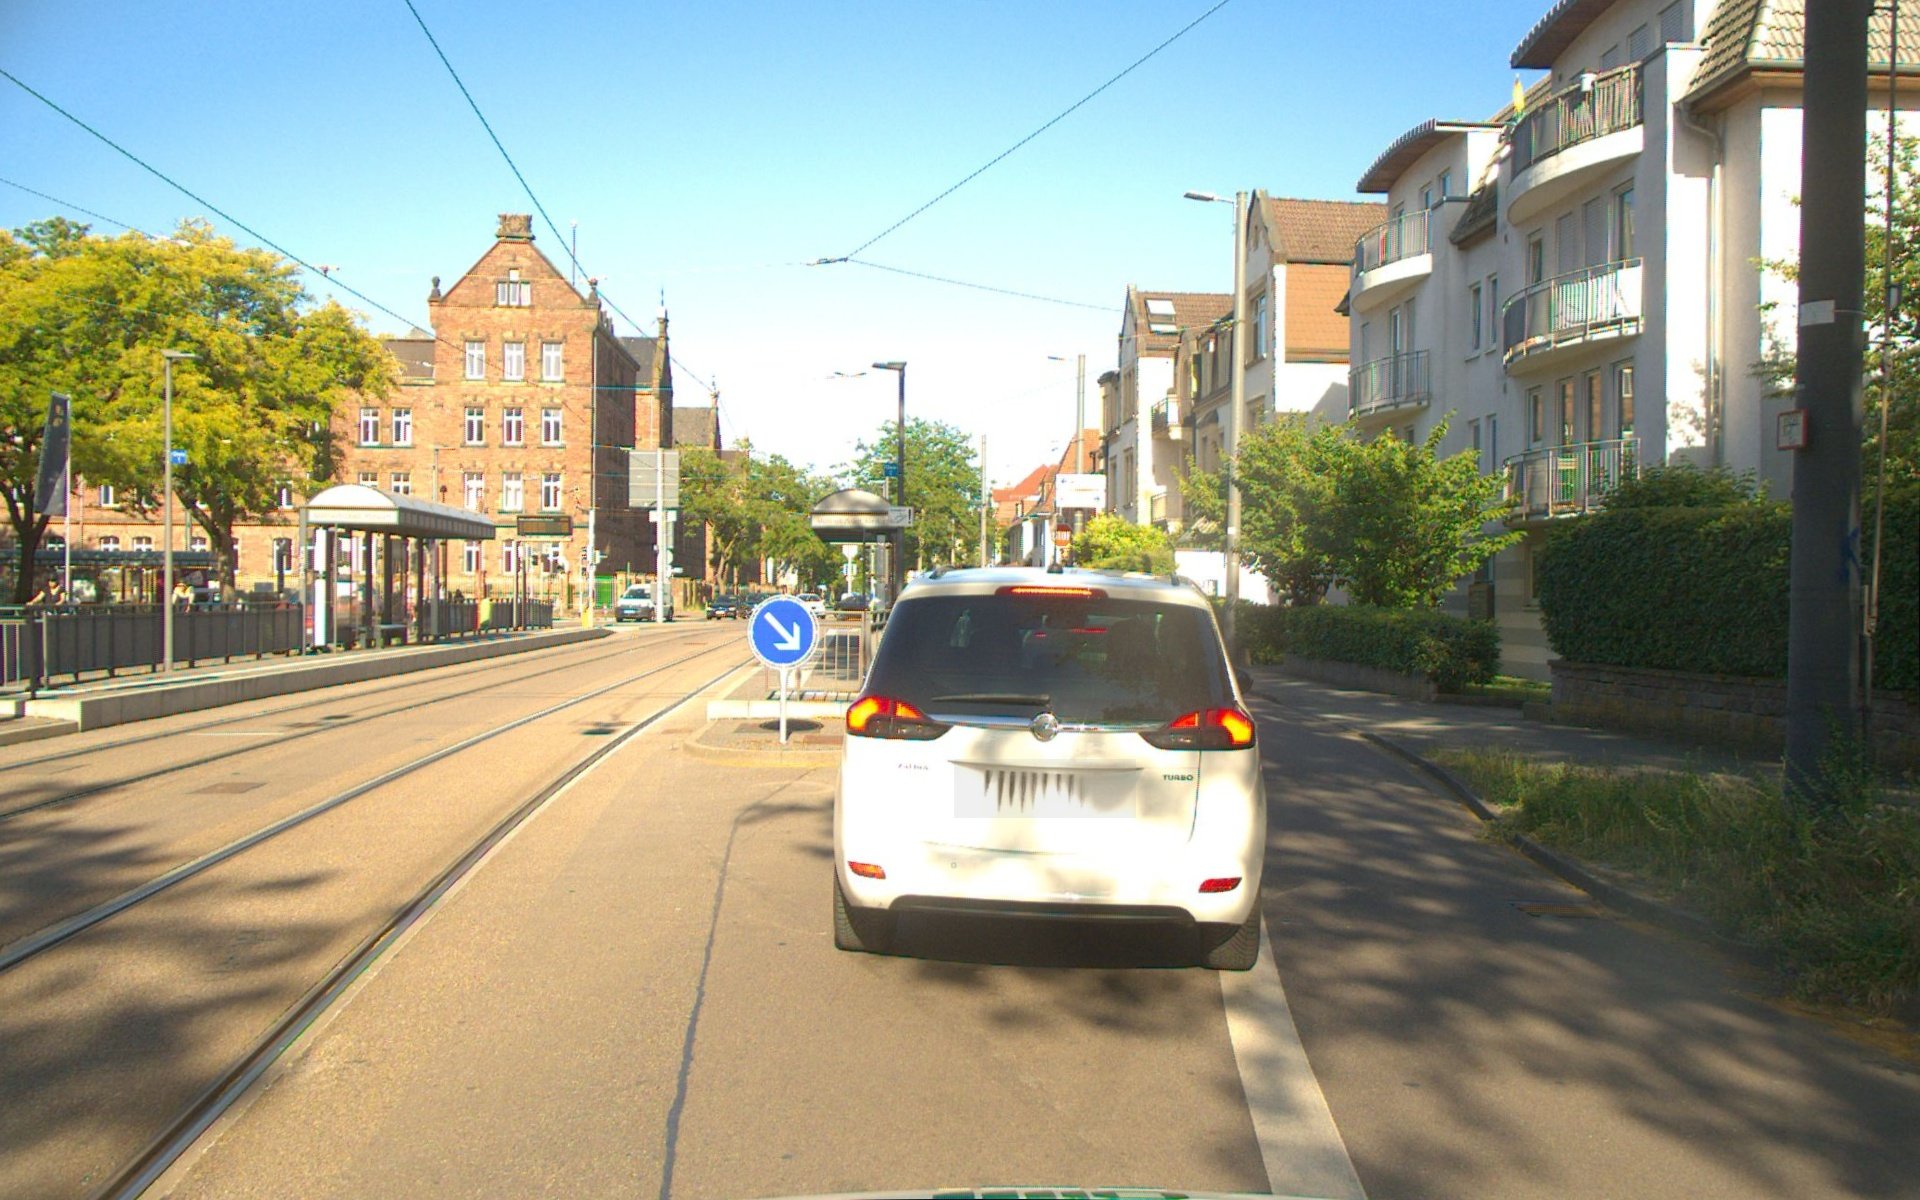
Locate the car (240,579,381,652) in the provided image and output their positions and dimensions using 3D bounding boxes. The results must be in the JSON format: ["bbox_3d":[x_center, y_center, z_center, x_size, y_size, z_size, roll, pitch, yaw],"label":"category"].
[{"bbox_3d":[-15.420,0.346,39.526,1.781,1.635,4.357,0,0,-2],"label":"car"}]

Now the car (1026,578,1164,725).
[{"bbox_3d":[1.719,0.588,21.057,1.536,1.643,3.786,2,0,5],"label":"car"}]

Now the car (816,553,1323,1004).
[{"bbox_3d":[0.556,0.637,8.095,1.838,1.613,4.002,1,0,5],"label":"car"}]

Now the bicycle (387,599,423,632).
[{"bbox_3d":[-19.522,0.546,58.204,0.656,1.091,2.014,1,1,-3],"label":"bicycle"}]

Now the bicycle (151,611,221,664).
[{"bbox_3d":[-17.567,0.865,37.588,0.670,1.108,1.855,-3,-3,1],"label":"bicycle"}]

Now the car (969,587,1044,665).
[{"bbox_3d":[1.067,0.577,39.611,1.563,1.663,3.901,2,1,-1],"label":"car"}]

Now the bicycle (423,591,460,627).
[{"bbox_3d":[-18.365,0.305,58.617,0.761,1.252,2.087,0,0,-4],"label":"bicycle"}]

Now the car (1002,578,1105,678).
[{"bbox_3d":[1.671,0.483,30.528,1.563,1.663,3.900,2,0,-1],"label":"car"}]

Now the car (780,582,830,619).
[{"bbox_3d":[-8.889,0.017,94.600,1.964,2.049,3.976,0,0,-20],"label":"car"}]

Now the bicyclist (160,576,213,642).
[{"bbox_3d":[-17.563,0.194,37.586,0.639,1.485,1.152,0,0,0],"label":"bicyclist"}]

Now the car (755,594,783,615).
[{"bbox_3d":[-13.682,0.362,118.653,1.791,1.471,4.323,1,-1,-5],"label":"car"}]

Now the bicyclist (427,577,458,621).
[{"bbox_3d":[-18.309,-0.030,58.551,0.745,1.563,1.347,0,0,-4],"label":"bicyclist"}]

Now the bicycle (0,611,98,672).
[{"bbox_3d":[-17.285,0.768,31.443,0.670,1.108,2.064,0,0,2],"label":"bicycle"}]

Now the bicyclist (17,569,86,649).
[{"bbox_3d":[-17.278,0.164,31.481,0.639,1.485,1.152,0,0,2],"label":"bicyclist"}]

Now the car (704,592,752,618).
[{"bbox_3d":[-13.312,0.259,95.094,1.760,1.406,4.498,0,1,5],"label":"car"}]

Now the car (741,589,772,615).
[{"bbox_3d":[-13.380,0.155,108.855,1.791,1.645,4.323,1,-1,-4],"label":"car"}]

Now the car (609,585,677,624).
[{"bbox_3d":[-15.283,0.204,79.945,1.788,1.819,4.259,0,0,10],"label":"car"}]

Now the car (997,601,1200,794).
[{"bbox_3d":[1.230,0.761,14.798,1.536,1.426,3.786,2,0,5],"label":"car"}]
